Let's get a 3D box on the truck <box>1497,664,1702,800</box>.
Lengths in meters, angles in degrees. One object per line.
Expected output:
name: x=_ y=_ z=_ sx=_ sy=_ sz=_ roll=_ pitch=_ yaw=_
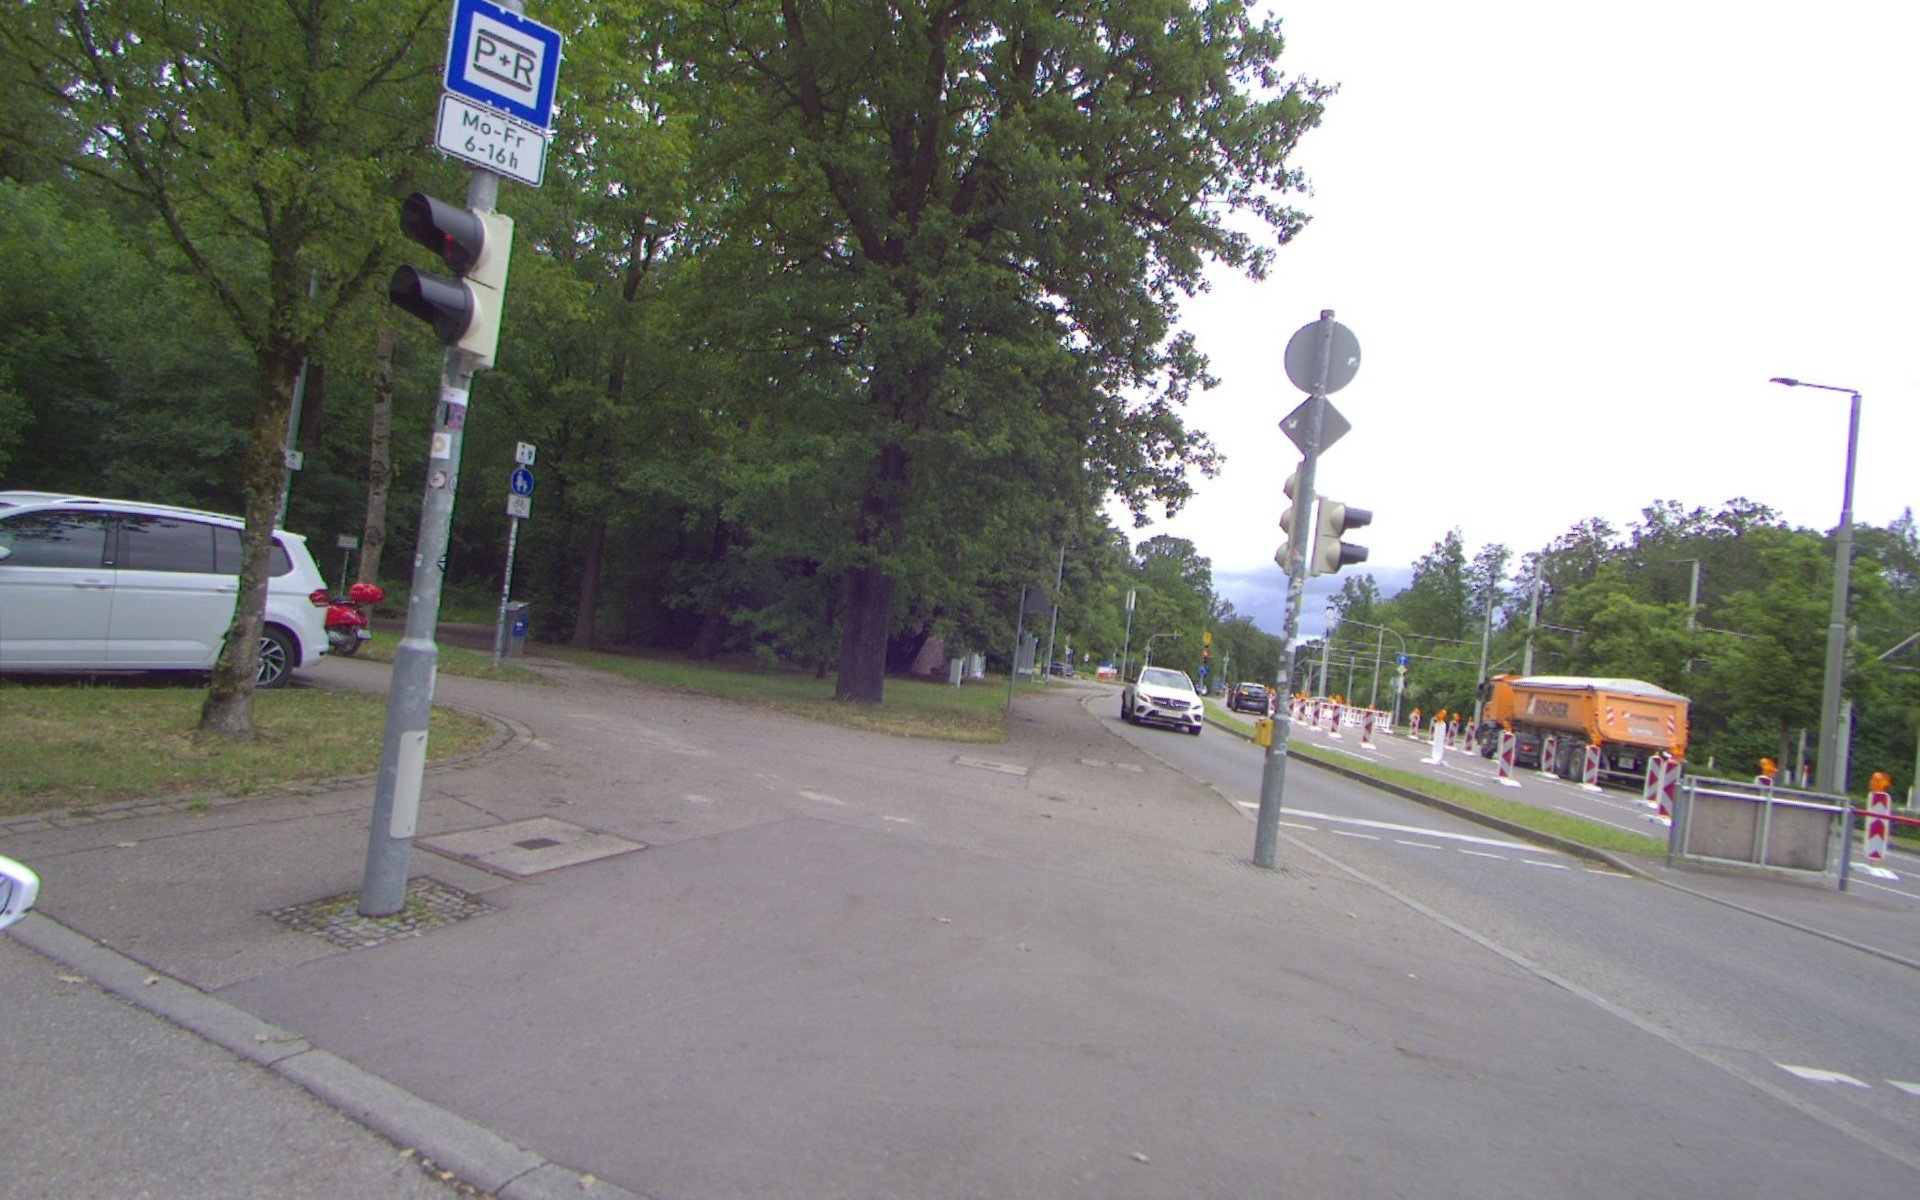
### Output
truck: x=20.805 y=4.096 z=33.417 sx=2.814 sy=3.555 sz=8.257 roll=7 pitch=-2 yaw=14

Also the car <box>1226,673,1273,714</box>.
car: x=15.119 y=4.898 z=52.748 sx=1.962 sy=1.735 sz=4.008 roll=9 pitch=-3 yaw=14

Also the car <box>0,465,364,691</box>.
car: x=-8.027 y=-0.206 z=8.607 sx=2.126 sy=1.713 sz=4.535 roll=6 pitch=-2 yaw=24

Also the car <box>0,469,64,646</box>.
car: x=-12.760 y=-0.823 z=10.363 sx=2.044 sy=2.042 sz=4.672 roll=8 pitch=-3 yaw=19

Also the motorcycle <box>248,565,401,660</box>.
motorcycle: x=-9.740 y=0.196 z=15.435 sx=1.973 sy=1.174 sz=0.677 roll=7 pitch=-1 yaw=12

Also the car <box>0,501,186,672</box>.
car: x=-10.264 y=-0.306 z=9.587 sx=1.912 sy=1.572 sz=4.012 roll=7 pitch=-3 yaw=25

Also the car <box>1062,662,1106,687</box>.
car: x=12.683 y=7.617 z=103.170 sx=1.987 sy=1.902 sz=3.957 roll=11 pitch=-3 yaw=-39

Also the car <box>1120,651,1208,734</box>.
car: x=5.606 y=2.534 z=27.828 sx=1.962 sy=1.768 sz=4.588 roll=9 pitch=-3 yaw=11
